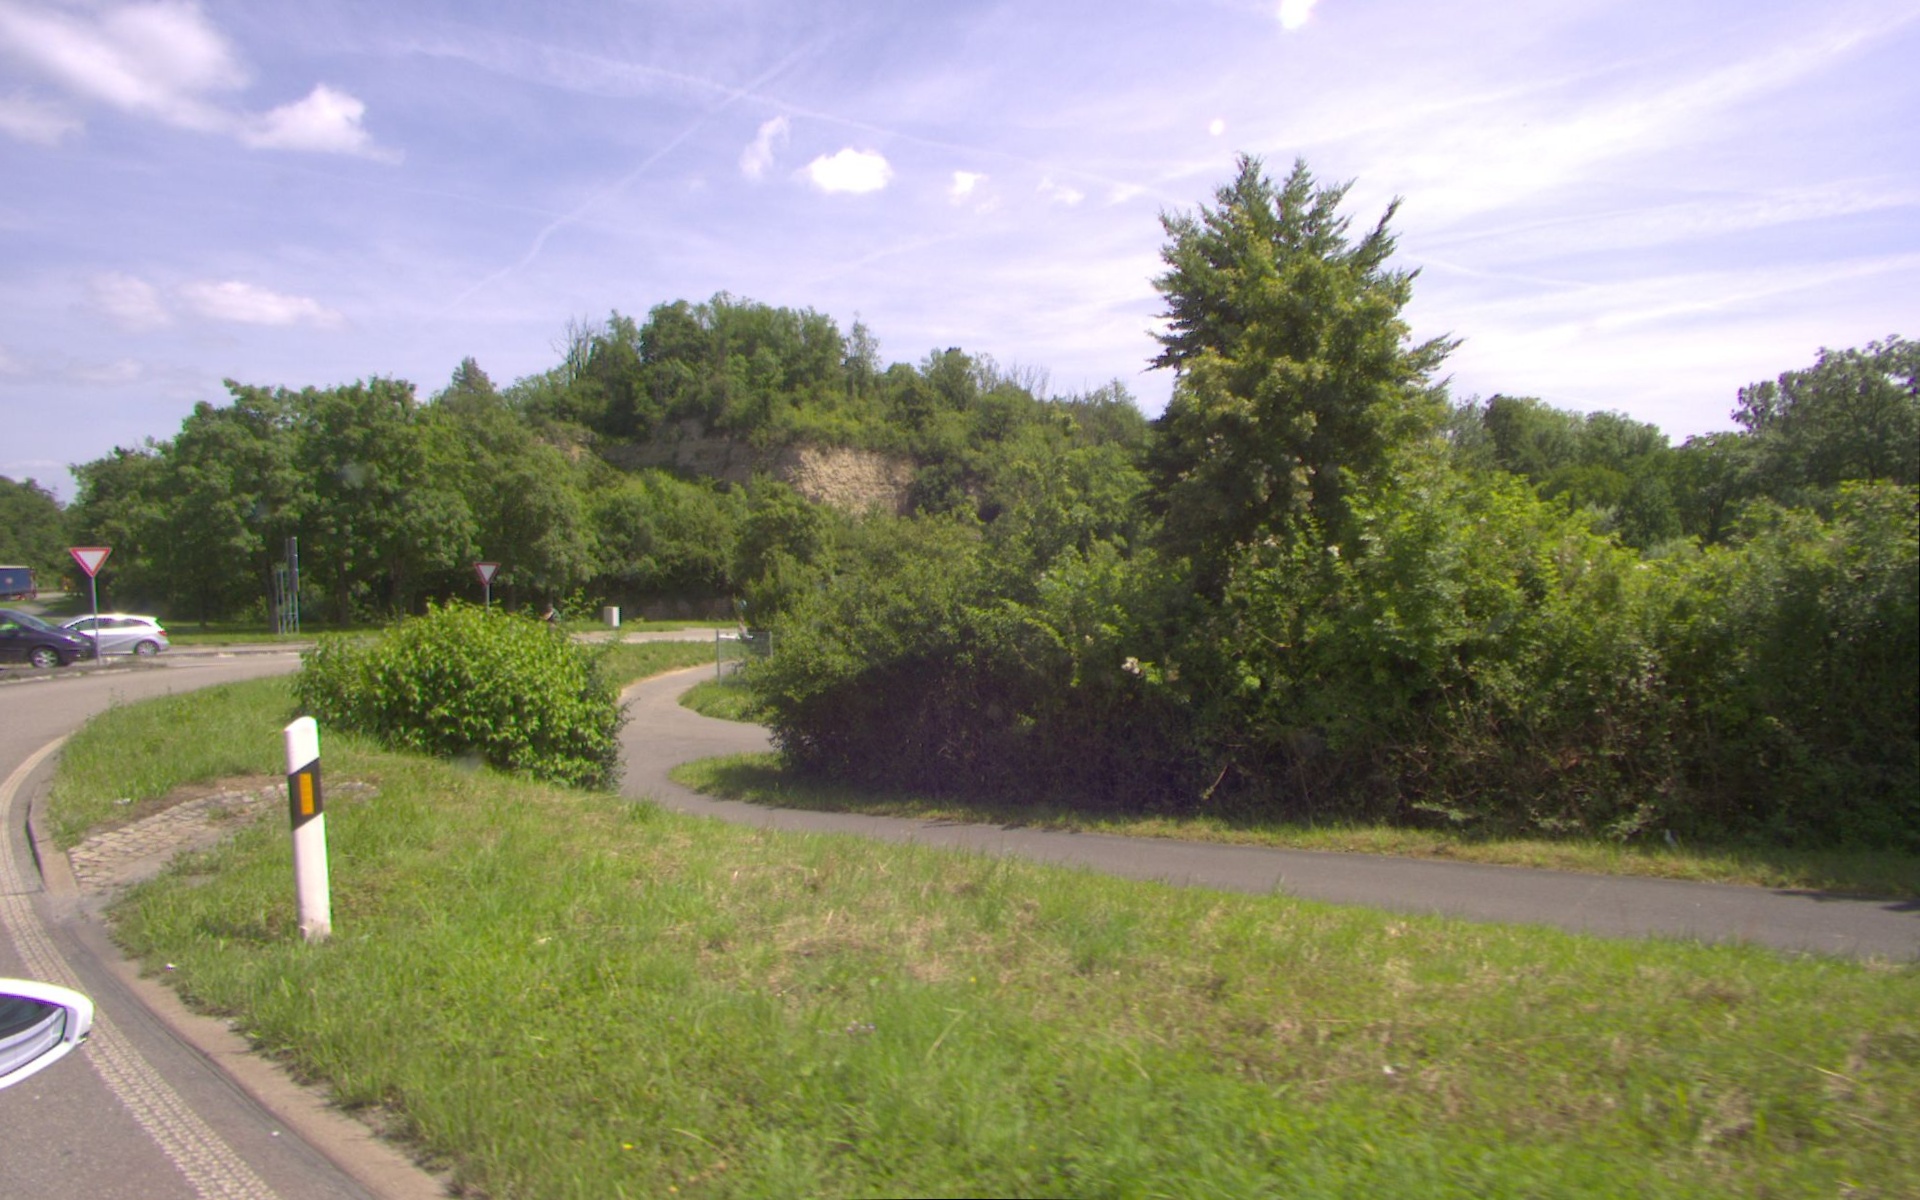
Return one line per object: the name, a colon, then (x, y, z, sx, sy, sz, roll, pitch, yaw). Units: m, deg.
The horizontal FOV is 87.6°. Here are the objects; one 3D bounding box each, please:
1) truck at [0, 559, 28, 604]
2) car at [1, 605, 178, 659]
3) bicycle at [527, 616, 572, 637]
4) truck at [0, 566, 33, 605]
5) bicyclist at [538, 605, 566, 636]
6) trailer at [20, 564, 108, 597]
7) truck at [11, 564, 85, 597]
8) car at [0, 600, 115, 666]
truck: (-105.516, -1.934, 109.715, 3.148, 4.078, 11.679, 1, -4, -34)
car: (-30.414, 1.125, 35.106, 1.976, 1.740, 4.413, -3, -3, 37)
bicycle: (-20.019, 1.301, 48.908, 0.785, 1.008, 1.987, -2, -3, 30)
truck: (-108.598, -1.617, 114.319, 3.138, 4.053, 5.782, 1, -4, -34)
bicyclist: (-19.953, 0.996, 49.014, 0.784, 1.466, 1.004, -2, -2, 30)
trailer: (-132.296, -2.684, 148.366, 4.953, 4.420, 20.735, 1, 0, -28)
truck: (-128.539, -2.683, 141.388, 4.953, 4.420, 11.707, 1, 0, -28)
car: (-26.985, 0.943, 27.952, 4.871, 1.807, 1.991, 0, -3, -30)
